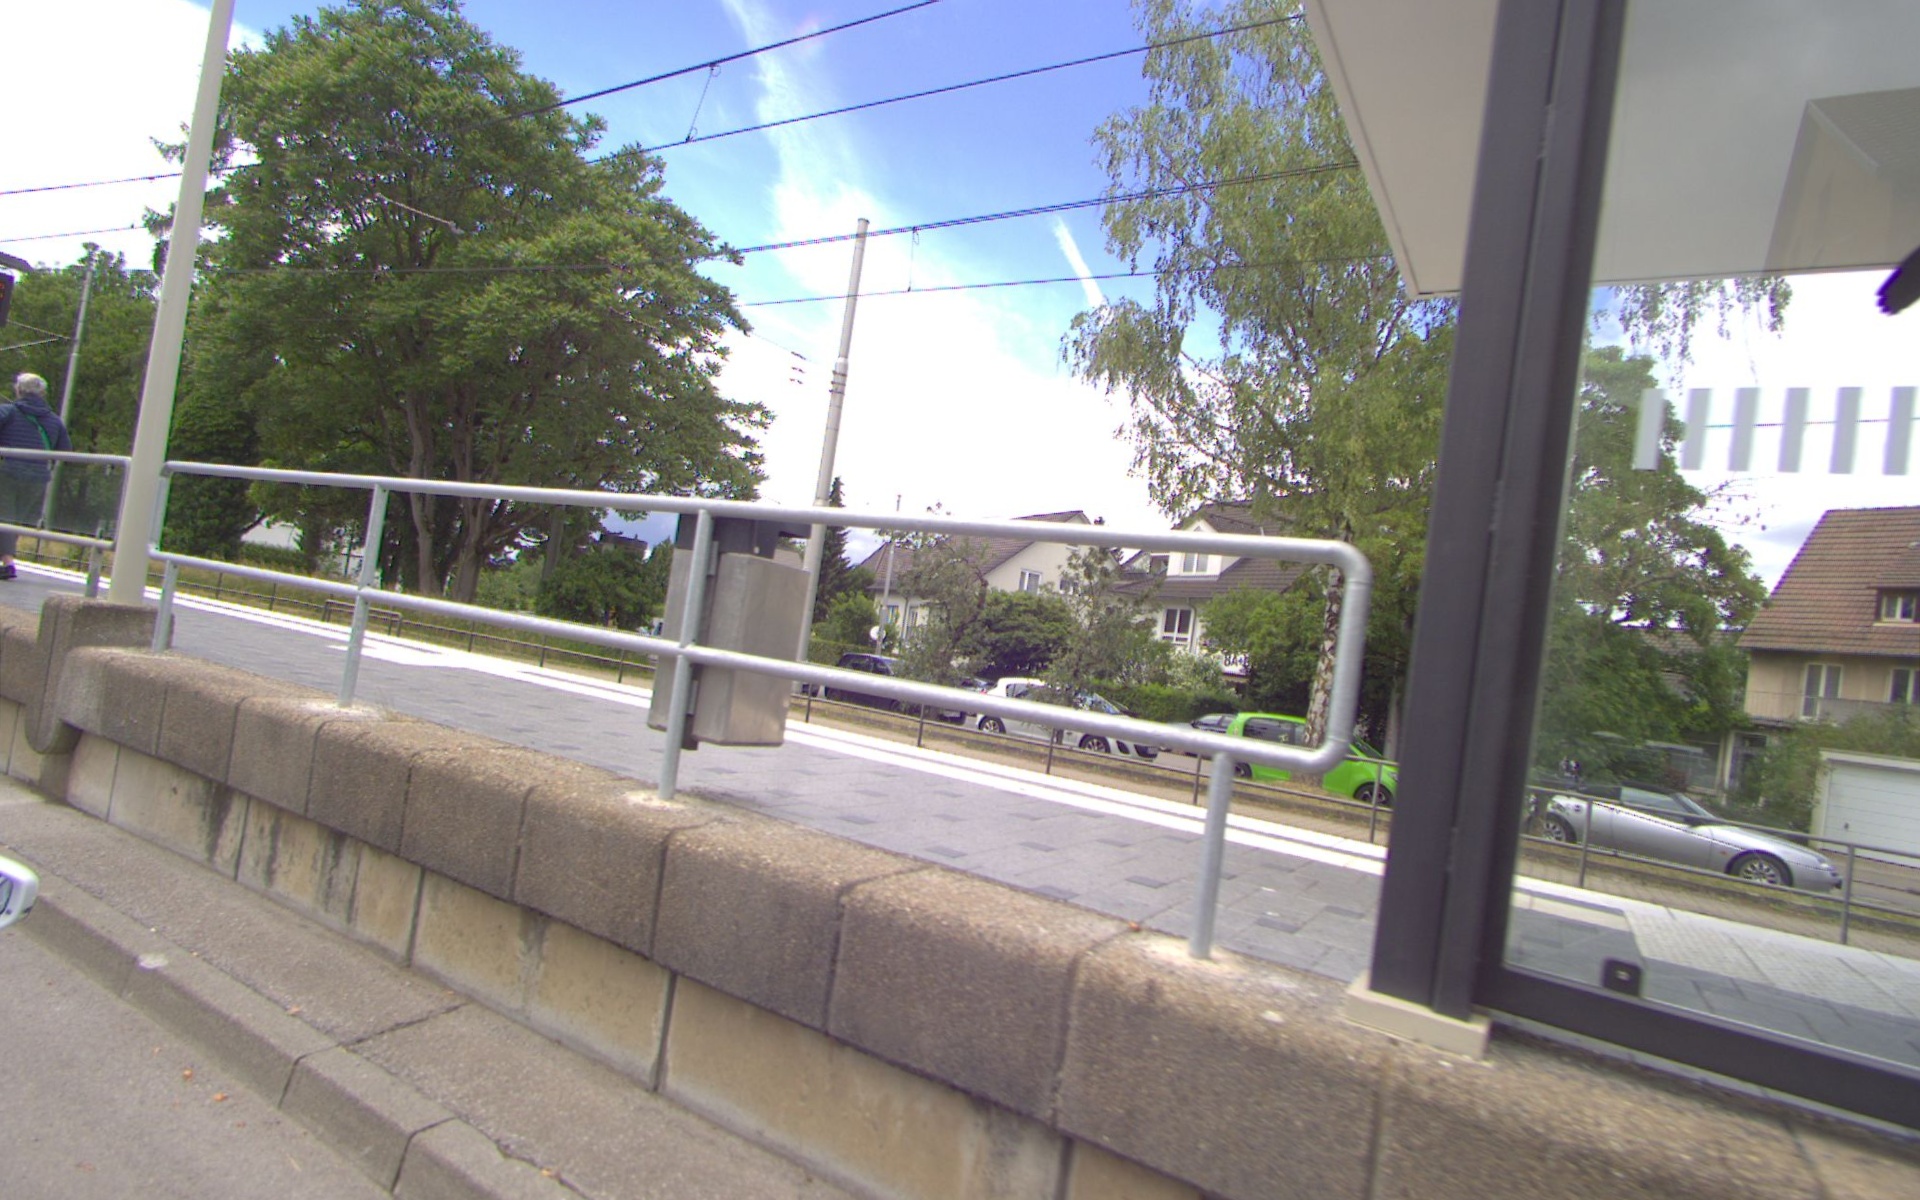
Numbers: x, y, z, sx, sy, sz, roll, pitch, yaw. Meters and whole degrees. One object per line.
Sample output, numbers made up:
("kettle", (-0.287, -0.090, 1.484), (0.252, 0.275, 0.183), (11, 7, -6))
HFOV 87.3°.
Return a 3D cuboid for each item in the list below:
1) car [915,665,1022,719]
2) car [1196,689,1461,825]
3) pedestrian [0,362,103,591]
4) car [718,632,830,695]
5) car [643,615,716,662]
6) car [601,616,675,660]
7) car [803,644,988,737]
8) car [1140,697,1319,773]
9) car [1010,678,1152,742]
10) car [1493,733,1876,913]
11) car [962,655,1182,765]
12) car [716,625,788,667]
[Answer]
("car", (0.299, 3.475, 38.362), (1.753, 1.504, 3.853), (10, -4, -44))
("car", (6.446, 2.690, 17.733), (3.937, 1.591, 1.733), (6, -3, 35))
("pedestrian", (-7.768, -1.011, 8.109), (0.894, 1.689, 0.888), (7, -2, 31))
("car", (-5.720, 1.879, 30.521), (1.745, 1.503, 4.470), (10, -5, -30))
("car", (-14.450, 1.931, 51.649), (1.751, 1.864, 4.453), (11, -4, -39))
("car", (-15.780, 1.813, 49.127), (2.054, 1.591, 4.219), (10, -3, -36))
("car", (-1.627, 2.128, 24.089), (1.837, 1.504, 4.446), (11, -4, -44))
("car", (7.916, 3.979, 29.932), (1.752, 1.504, 4.872), (10, -4, -42))
("car", (4.039, 3.707, 34.239), (1.752, 1.504, 4.643), (10, -4, -42))
("car", (10.436, 3.124, 14.858), (4.193, 1.591, 2.067), (6, -3, 35))
("car", (2.276, 2.251, 20.868), (4.035, 1.591, 1.759), (6, -3, 35))
("car", (-11.079, 2.440, 53.404), (1.809, 1.654, 4.197), (10, -3, -39))
